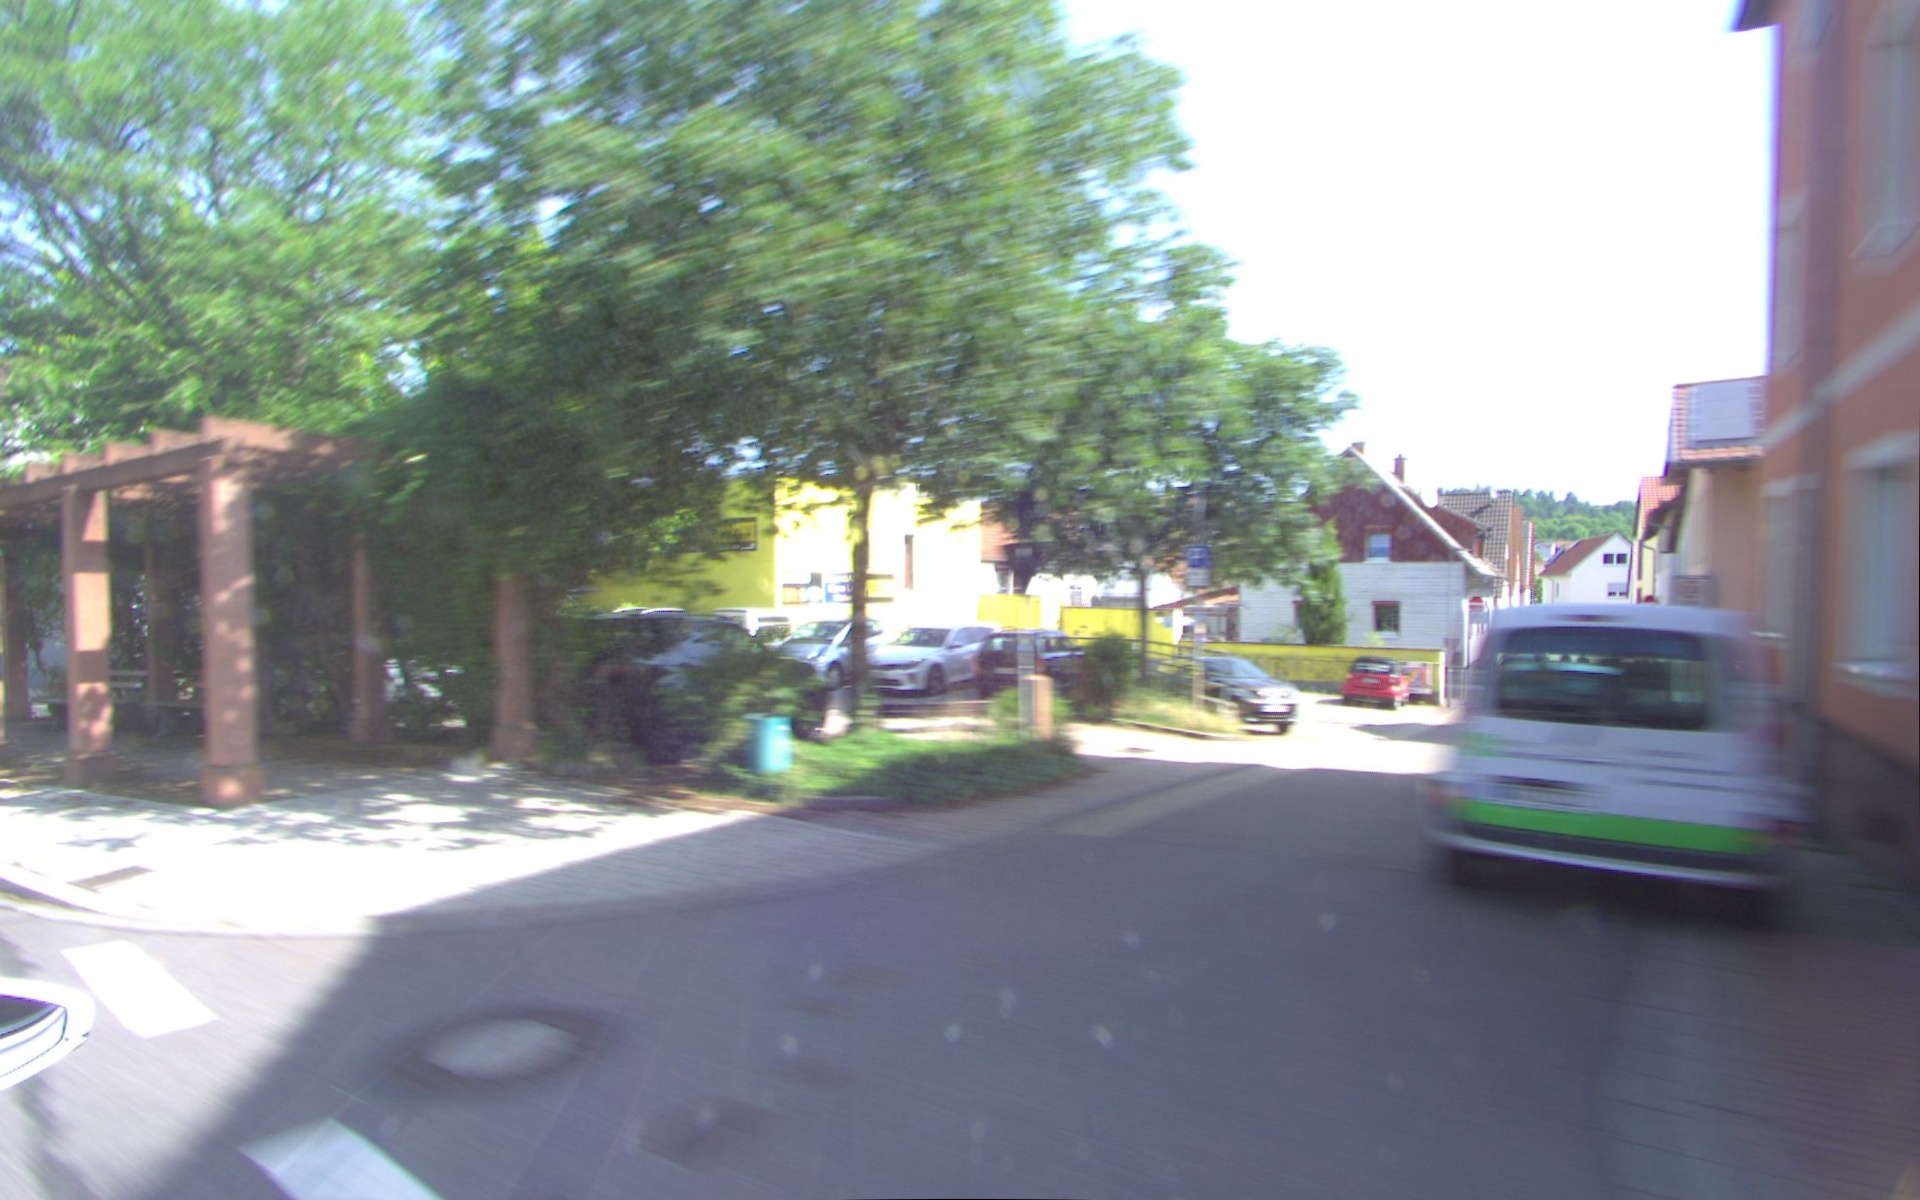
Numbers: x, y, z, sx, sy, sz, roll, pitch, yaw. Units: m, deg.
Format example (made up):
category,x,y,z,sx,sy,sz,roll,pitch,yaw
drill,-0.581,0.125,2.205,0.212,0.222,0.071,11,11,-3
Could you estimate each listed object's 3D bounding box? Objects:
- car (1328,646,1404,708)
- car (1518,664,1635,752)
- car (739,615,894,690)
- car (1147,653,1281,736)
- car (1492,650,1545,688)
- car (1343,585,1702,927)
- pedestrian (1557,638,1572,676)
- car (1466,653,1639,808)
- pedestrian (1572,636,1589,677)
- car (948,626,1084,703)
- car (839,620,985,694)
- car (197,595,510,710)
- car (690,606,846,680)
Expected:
category,x,y,z,sx,sy,sz,roll,pitch,yaw
car,13.064,2.398,32.096,1.927,1.721,4.021,-1,-1,27
car,13.026,2.182,21.127,1.912,1.613,4.017,-1,-3,33
car,-3.371,1.206,24.222,1.728,1.632,3.970,-1,-1,27
car,5.475,2.009,22.007,1.611,1.592,3.659,2,-2,-7
car,25.210,3.080,45.127,1.830,1.613,4.017,-1,-3,33
car,4.252,0.976,7.432,1.788,1.775,4.081,-1,-5,34
pedestrian,28.584,2.689,47.364,0.538,1.774,0.585,0,-2,38
car,7.123,1.474,12.013,1.555,1.543,3.488,-1,-5,32
pedestrian,28.873,2.634,46.580,0.587,1.864,0.681,-1,-2,38
car,1.297,1.324,21.648,1.497,1.450,3.869,-1,-1,27
car,-1.005,1.266,23.044,1.629,1.509,3.869,-2,-1,27
car,-10.552,0.833,17.852,1.698,1.566,4.474,-2,2,27
car,-4.943,1.069,26.327,1.854,1.763,4.172,-1,-1,27
